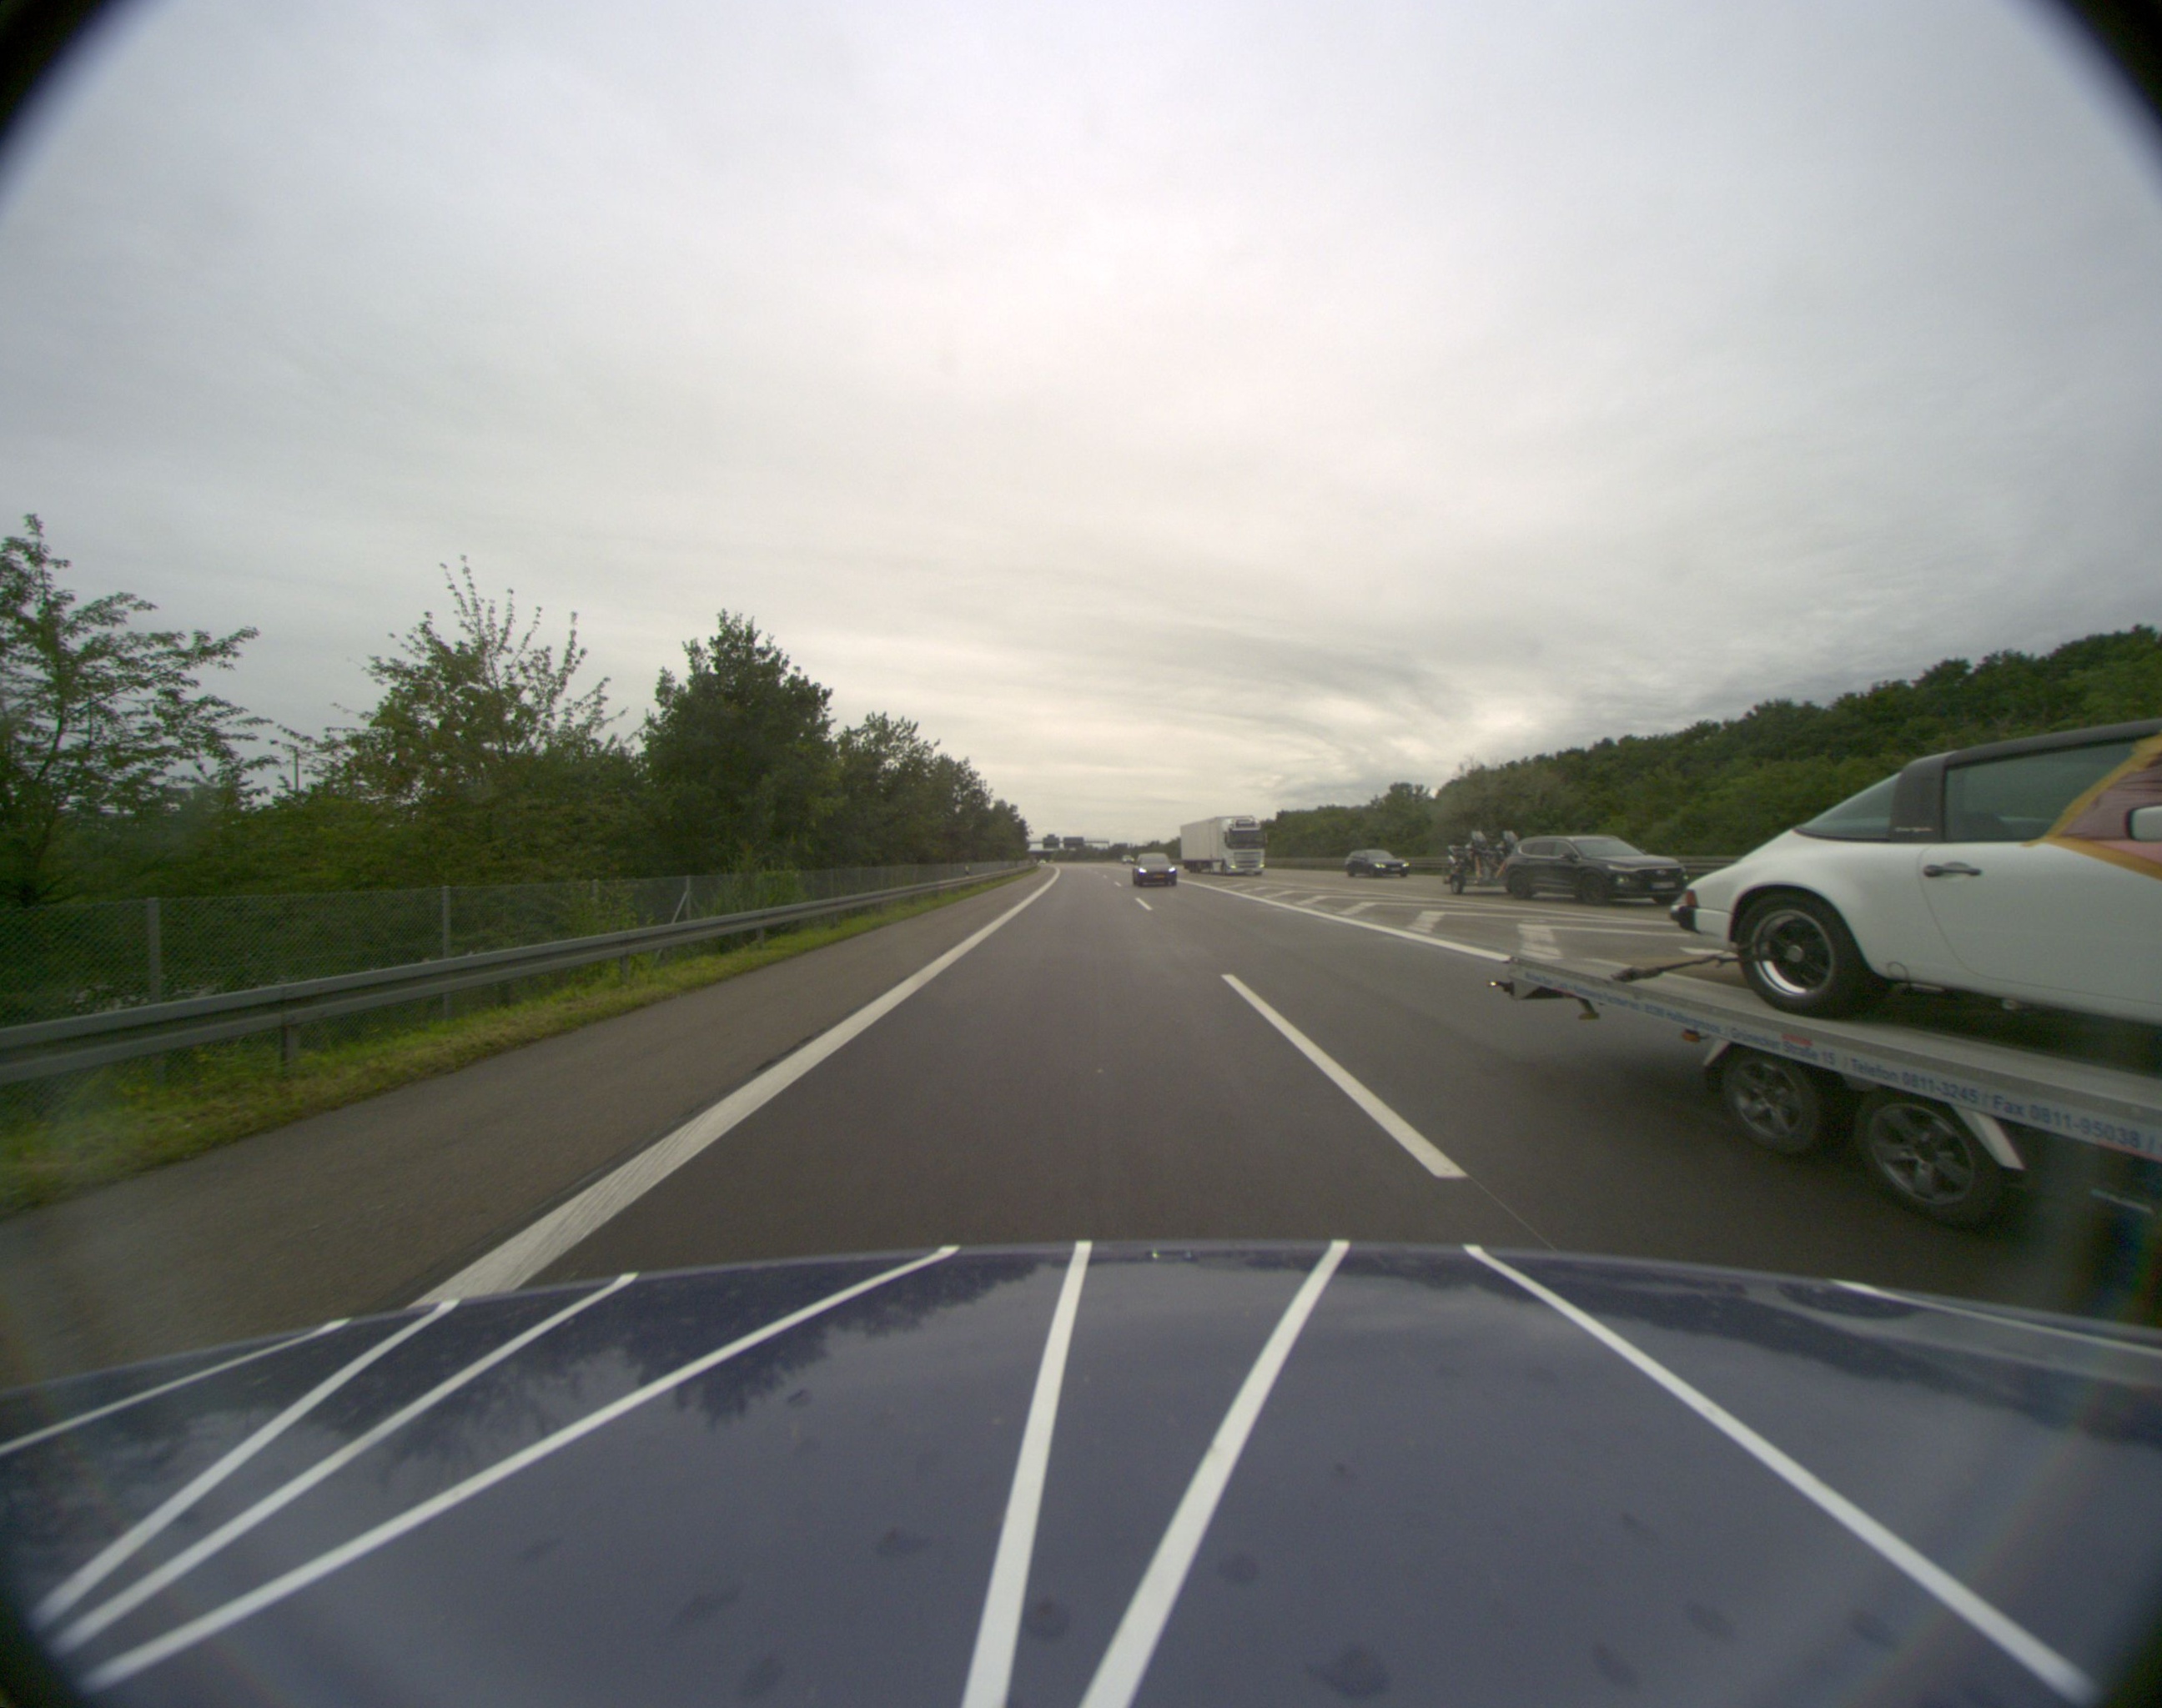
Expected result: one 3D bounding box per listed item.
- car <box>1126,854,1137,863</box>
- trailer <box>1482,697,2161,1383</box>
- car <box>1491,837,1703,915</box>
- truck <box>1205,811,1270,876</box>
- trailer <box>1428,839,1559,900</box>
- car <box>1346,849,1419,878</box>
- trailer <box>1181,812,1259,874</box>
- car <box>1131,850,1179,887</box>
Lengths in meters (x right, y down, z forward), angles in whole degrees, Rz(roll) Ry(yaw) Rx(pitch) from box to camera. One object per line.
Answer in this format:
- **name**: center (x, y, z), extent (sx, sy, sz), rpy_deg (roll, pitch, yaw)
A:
- **car**: center (10.101, 0.838, 151.706), extent (1.903, 1.641, 4.485), rpy_deg (-2, 0, -1)
- **trailer**: center (4.339, 0.487, 2.300), extent (2.491, 1.983, 7.063), rpy_deg (-3, 0, 0)
- **car**: center (12.559, 0.457, 18.978), extent (1.887, 1.617, 4.805), rpy_deg (-2, 1, -2)
- **truck**: center (10.720, -0.677, 52.699), extent (2.773, 4.111, 6.443), rpy_deg (-3, 0, -2)
- **trailer**: center (12.412, 0.418, 23.143), extent (1.887, 1.617, 3.610), rpy_deg (-2, 1, -2)
- **car**: center (15.816, 0.458, 40.170), extent (1.808, 1.383, 4.773), rpy_deg (-2, 1, -2)
- **trailer**: center (10.453, -0.733, 59.222), extent (2.773, 4.111, 13.948), rpy_deg (-3, 0, -2)
- **car**: center (3.671, 0.689, 38.345), extent (1.966, 1.628, 4.553), rpy_deg (-2, 1, 1)
